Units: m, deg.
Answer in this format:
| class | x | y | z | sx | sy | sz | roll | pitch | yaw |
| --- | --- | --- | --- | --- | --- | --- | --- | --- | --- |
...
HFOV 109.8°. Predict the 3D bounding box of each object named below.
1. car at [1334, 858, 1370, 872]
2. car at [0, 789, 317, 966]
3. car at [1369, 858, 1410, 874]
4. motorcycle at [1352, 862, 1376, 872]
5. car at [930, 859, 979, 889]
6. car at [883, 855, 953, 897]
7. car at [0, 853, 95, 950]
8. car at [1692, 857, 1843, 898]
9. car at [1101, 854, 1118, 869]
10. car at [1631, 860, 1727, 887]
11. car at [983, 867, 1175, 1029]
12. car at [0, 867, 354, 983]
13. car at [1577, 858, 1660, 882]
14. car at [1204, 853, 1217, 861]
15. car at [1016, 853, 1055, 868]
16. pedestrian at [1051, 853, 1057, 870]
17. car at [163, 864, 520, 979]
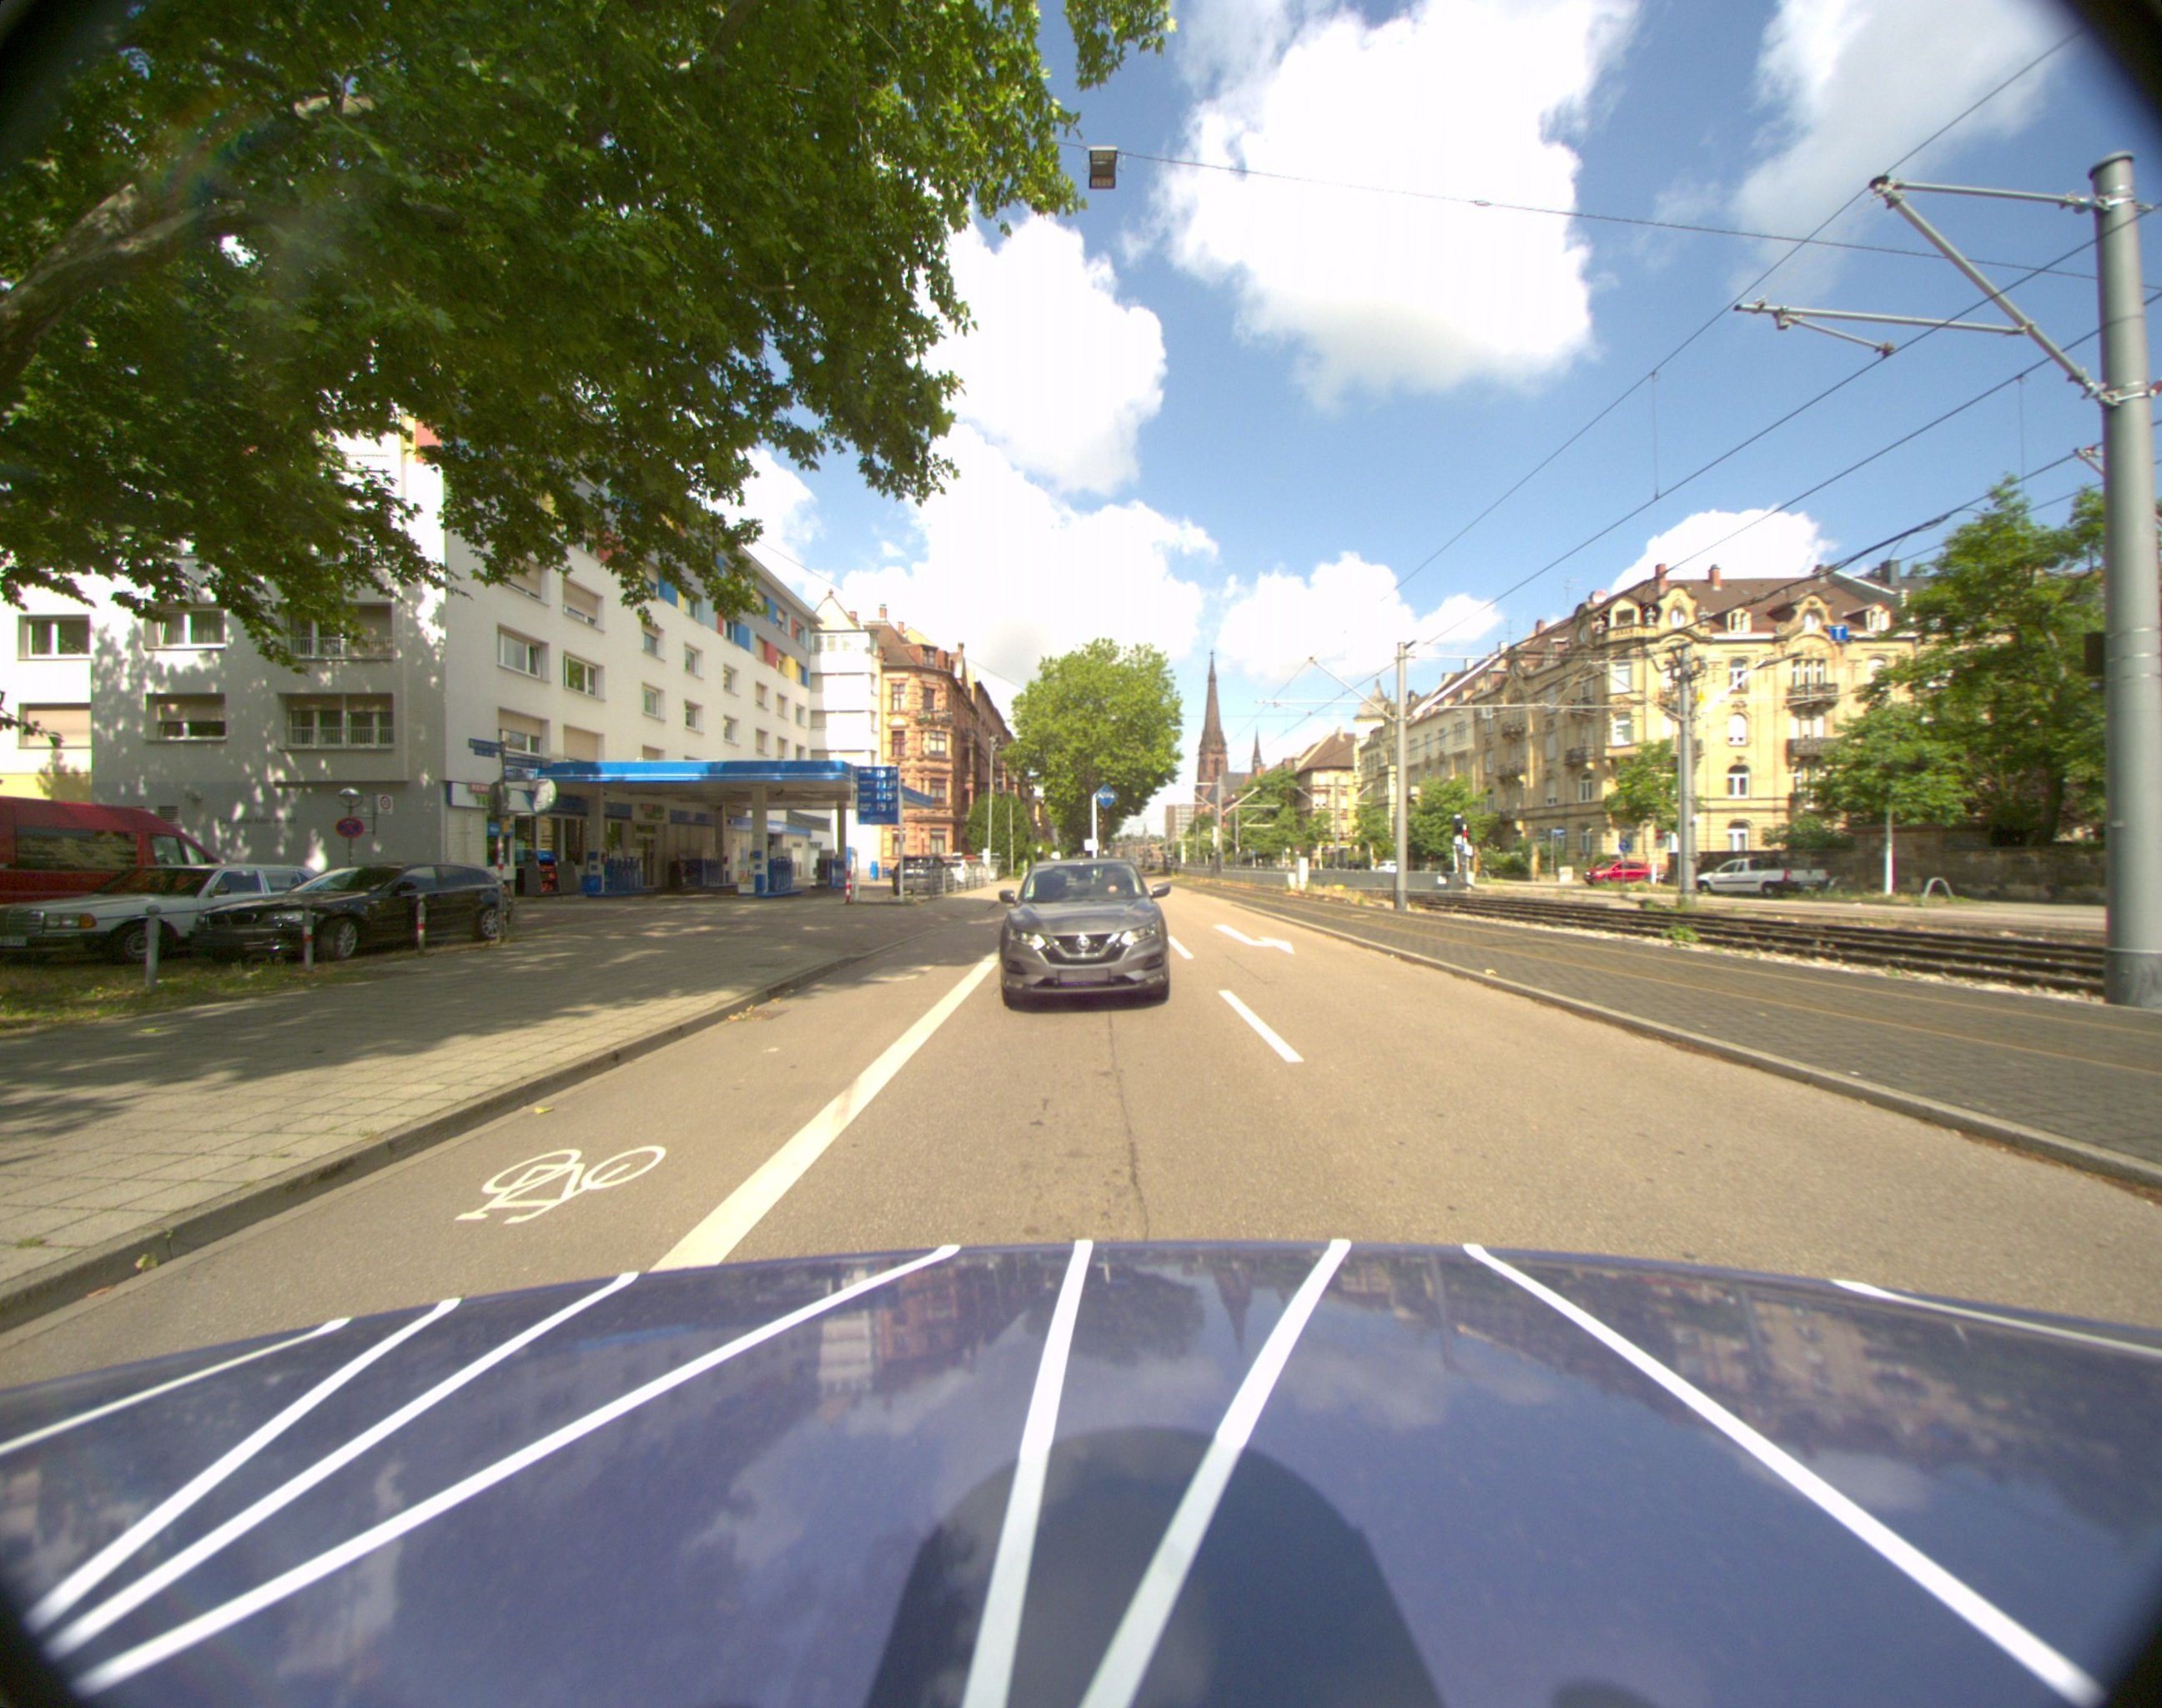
| class | x | y | z | sx | sy | sz | roll | pitch | yaw |
| --- | --- | --- | --- | --- | --- | --- | --- | --- | --- |
| car | 26.949 | 1.049 | 75.601 | 2.025 | 1.319 | 4.100 | 0 | 0 | -2 |
| car | -16.707 | 0.347 | 12.456 | 2.116 | 2.567 | 6.020 | 0 | 0 | 2 |
| car | 27.059 | 1.032 | 66.724 | 1.756 | 1.320 | 4.312 | 0 | 0 | -1 |
| motorcycle | 27.059 | 1.247 | 72.741 | 1.765 | 0.936 | 1.418 | 1 | 0 | -1 |
| car | -6.419 | 0.998 | 39.003 | 1.810 | 1.447 | 4.001 | -1 | 0 | 0 |
| car | -6.729 | 0.863 | 31.836 | 1.810 | 1.593 | 4.583 | -1 | 0 | 2 |
| car | -19.351 | 0.822 | 11.756 | 2.011 | 1.641 | 4.653 | -2 | 0 | 2 |
| car | 26.872 | 0.879 | 29.990 | 1.936 | 1.495 | 4.414 | 0 | 0 | -1 |
| car | 2.992 | 0.810 | 80.207 | 1.557 | 1.476 | 3.859 | 2 | 0 | 0 |
| car | 33.083 | 1.049 | 42.102 | 3.972 | 1.455 | 1.724 | 0 | 0 | 1 |
| car | 0.017 | 0.924 | 9.427 | 1.800 | 1.454 | 4.568 | 0 | 0 | 1 |
| car | -13.853 | 0.931 | 11.655 | 1.653 | 1.421 | 4.042 | 0 | 0 | -3 |
| car | 33.773 | 1.005 | 47.824 | 3.788 | 1.455 | 1.933 | 0 | 0 | 4 |
| car | 26.730 | 0.571 | 156.935 | 1.998 | 1.628 | 4.114 | 0 | 0 | 0 |
| car | -5.795 | 0.858 | 96.487 | 4.735 | 1.772 | 2.004 | -1 | 0 | -7 |
| pedestrian | -2.787 | 0.791 | 78.458 | 0.565 | 1.775 | 0.630 | 0 | 0 | 0 |
| car | -11.132 | 0.900 | 11.930 | 1.653 | 1.461 | 4.043 | 0 | 0 | 0 |
